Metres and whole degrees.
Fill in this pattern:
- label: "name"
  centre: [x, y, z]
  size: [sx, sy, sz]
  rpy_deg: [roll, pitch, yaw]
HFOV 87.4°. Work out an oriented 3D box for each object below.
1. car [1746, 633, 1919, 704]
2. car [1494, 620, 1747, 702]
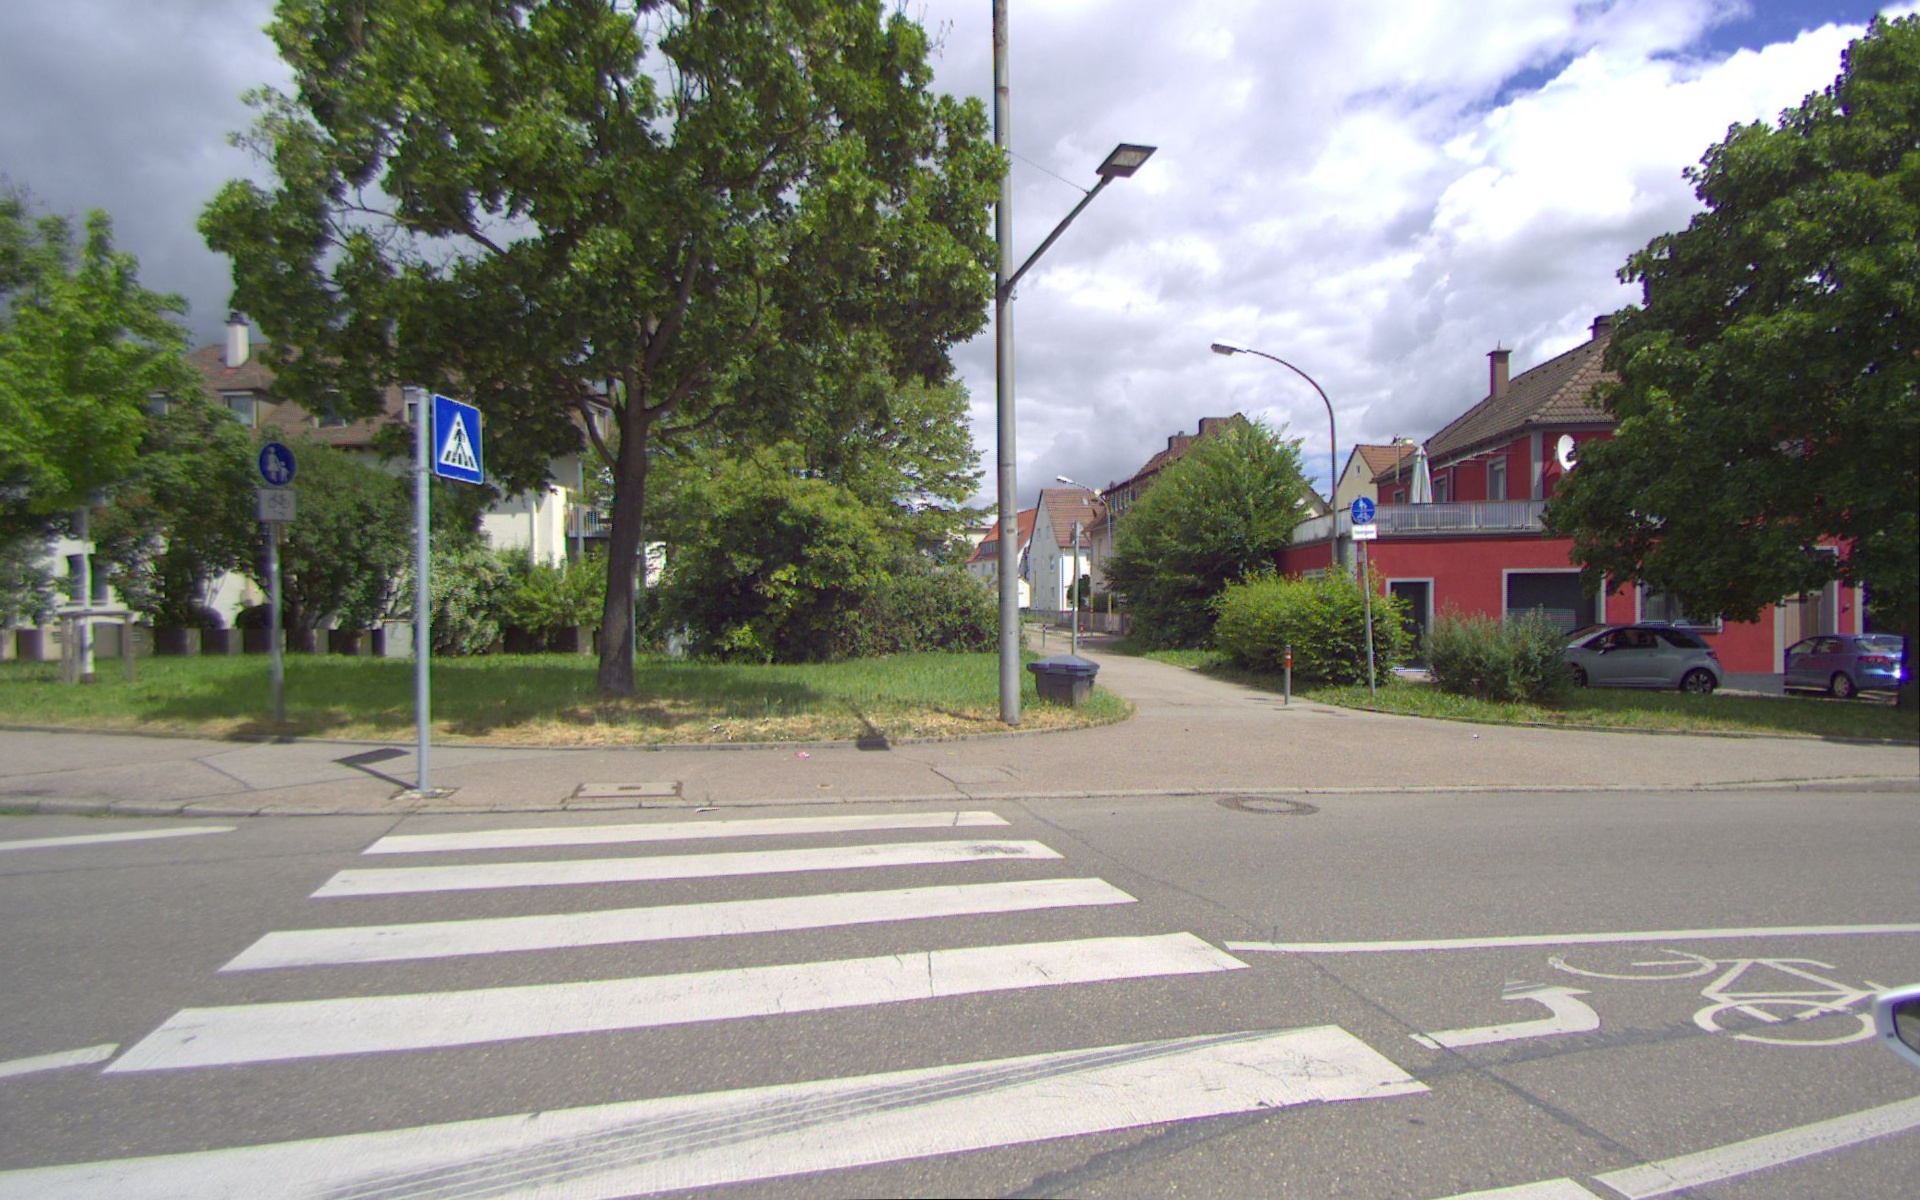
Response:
- label: "car"
  centre: [20.428, 1.523, 23.223]
  size: [1.806, 1.396, 3.816]
  rpy_deg: [1, -1, 6]
- label: "car"
  centre: [13.452, 1.210, 20.642]
  size: [3.995, 1.445, 1.646]
  rpy_deg: [2, 1, 5]
